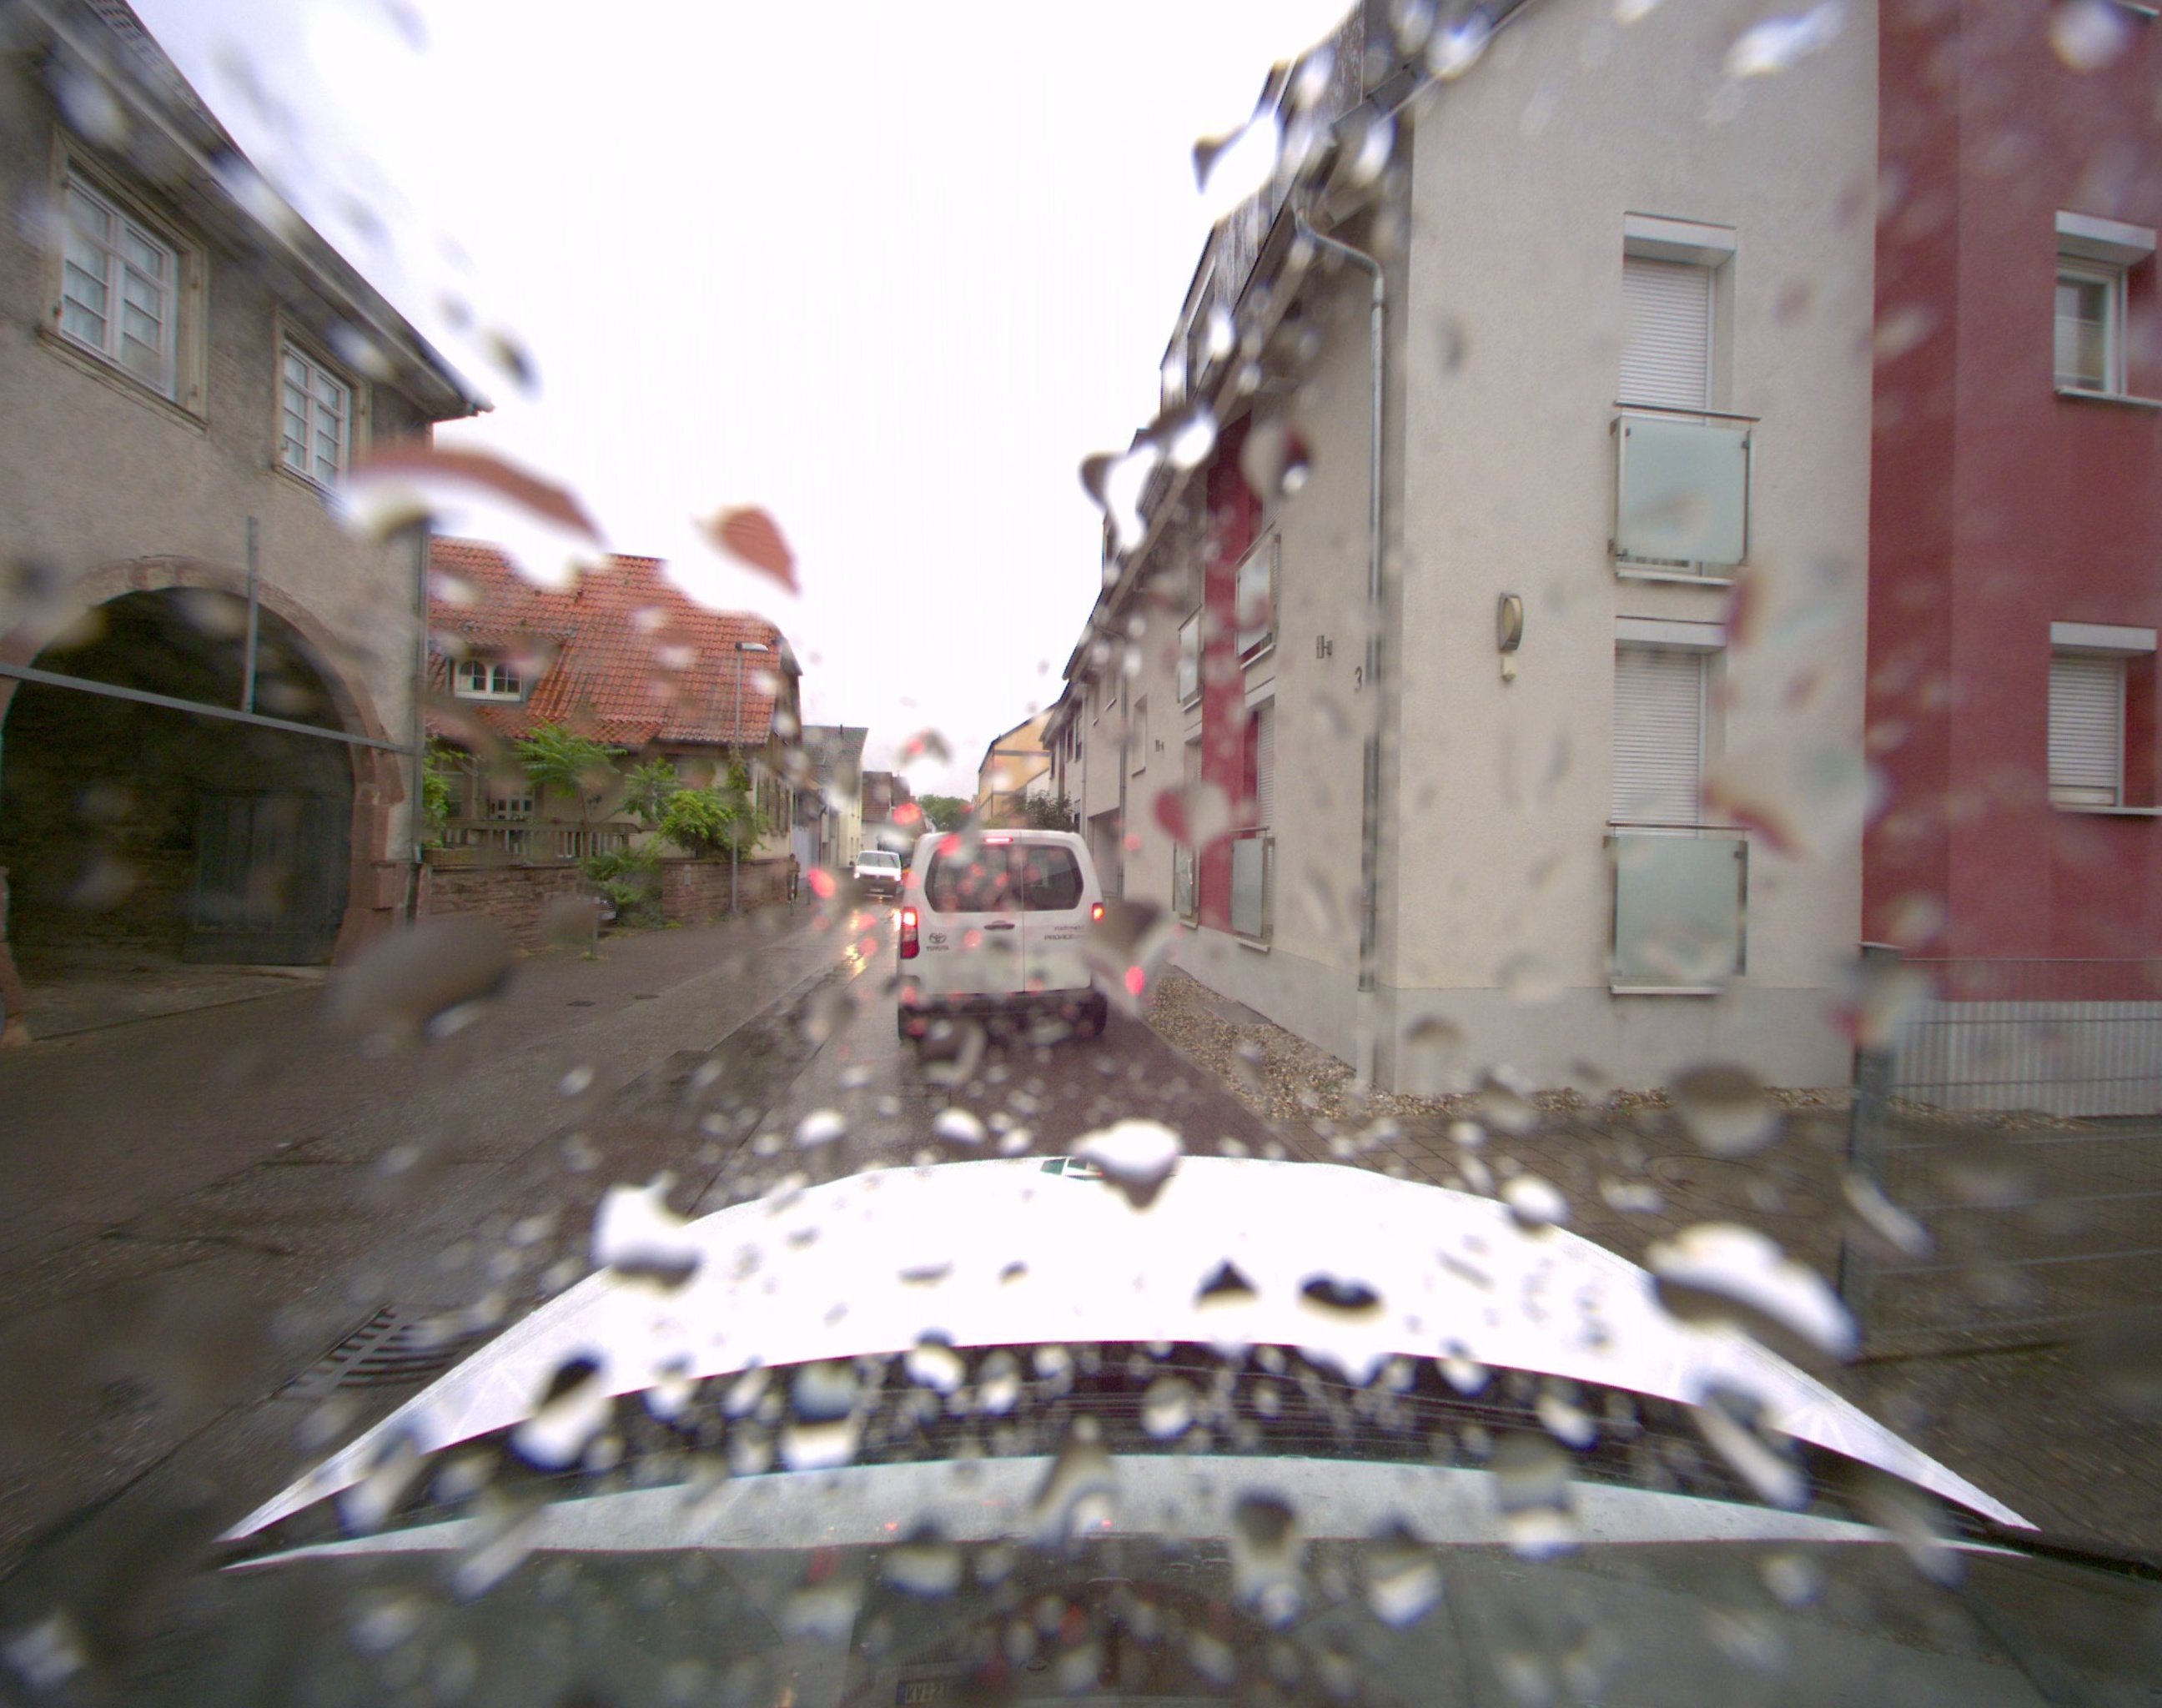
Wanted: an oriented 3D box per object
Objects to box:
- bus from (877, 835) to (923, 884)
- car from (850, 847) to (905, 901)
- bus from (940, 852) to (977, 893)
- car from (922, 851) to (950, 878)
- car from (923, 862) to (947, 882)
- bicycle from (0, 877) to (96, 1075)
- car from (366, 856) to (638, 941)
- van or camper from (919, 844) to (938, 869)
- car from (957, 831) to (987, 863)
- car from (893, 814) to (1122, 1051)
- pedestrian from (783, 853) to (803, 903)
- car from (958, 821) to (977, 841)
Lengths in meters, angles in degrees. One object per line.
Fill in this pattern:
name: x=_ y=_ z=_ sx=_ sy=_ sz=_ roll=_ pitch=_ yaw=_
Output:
bus: x=-13.554 y=0.483 z=61.608 sx=2.793 sy=3.329 sz=8.150 roll=3 pitch=-2 yaw=-9
car: x=-8.168 y=0.812 z=33.048 sx=1.894 sy=1.967 sz=4.703 roll=2 pitch=-1 yaw=-12
bus: x=-10.521 y=1.557 z=69.735 sx=2.793 sy=3.180 sz=8.150 roll=3 pitch=-2 yaw=-9
car: x=-8.786 y=0.650 z=49.549 sx=1.561 sy=1.480 sz=3.573 roll=2 pitch=-1 yaw=-9
car: x=-10.804 y=1.313 z=60.399 sx=1.561 sy=1.372 sz=3.574 roll=2 pitch=-1 yaw=-9
bicycle: x=-6.721 y=0.736 z=4.481 sx=0.482 sy=1.180 sz=1.830 roll=2 pitch=-1 yaw=-7
car: x=-10.060 y=0.754 z=14.391 sx=3.524 sy=1.376 sz=1.590 roll=1 pitch=-1 yaw=-8
van or camper: x=-18.436 y=0.335 z=98.707 sx=1.834 sy=2.926 sz=5.348 roll=2 pitch=-1 yaw=-8
car: x=-7.475 y=-0.443 z=55.446 sx=1.827 sy=2.014 sz=3.681 roll=2 pitch=-1 yaw=-9
car: x=-0.897 y=0.628 z=8.461 sx=1.795 sy=1.819 sz=4.087 roll=0 pitch=-1 yaw=-10
pedestrian: x=-9.041 y=0.744 z=25.603 sx=0.569 sy=1.530 sz=0.565 roll=0 pitch=-1 yaw=-19
car: x=-13.128 y=-2.656 z=94.176 sx=1.992 sy=2.014 sz=3.988 roll=2 pitch=-1 yaw=-8
